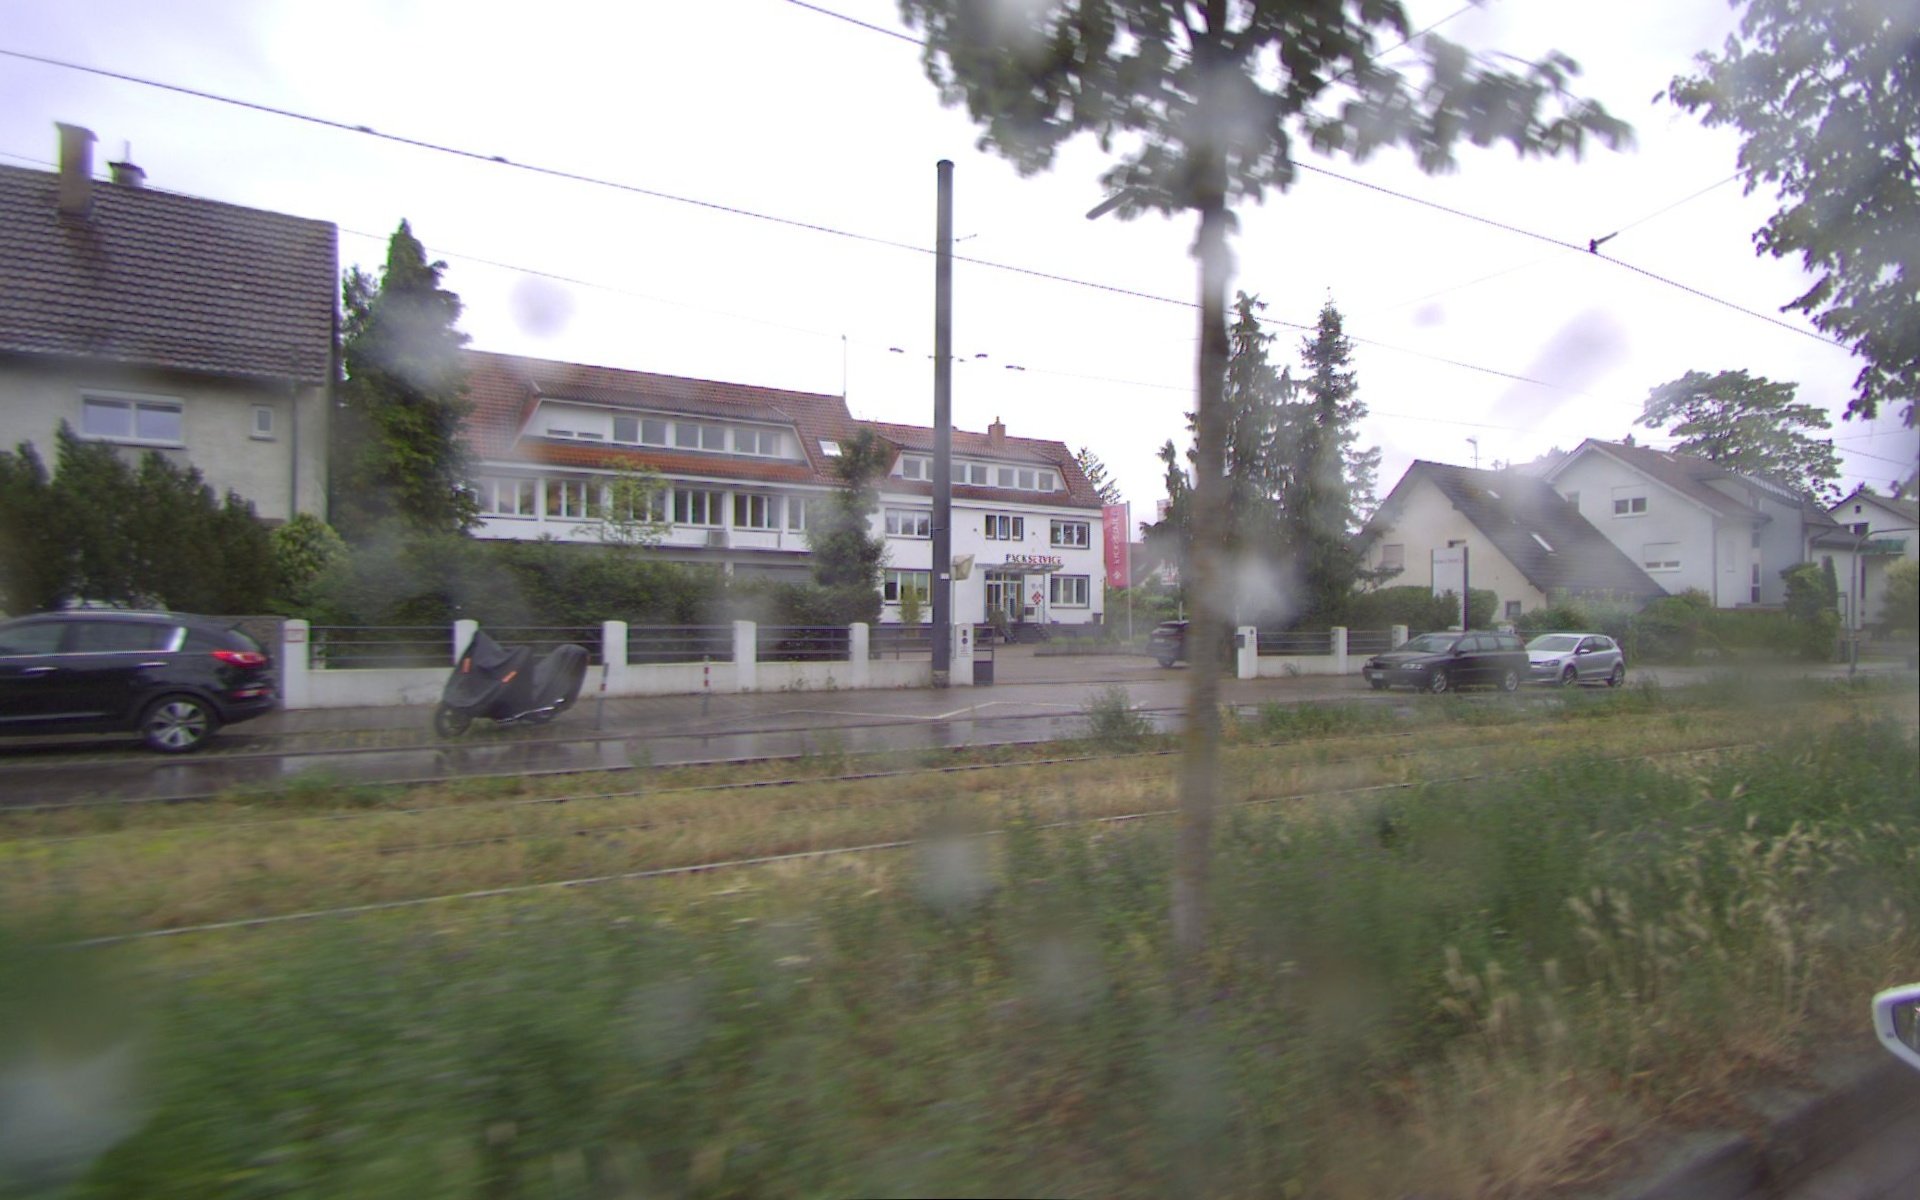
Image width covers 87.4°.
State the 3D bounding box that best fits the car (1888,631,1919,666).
[{"bbox_3d":[40.945,2.041,41.920,4.187,1.369,1.985,1,1,-28],"label":"car"}]

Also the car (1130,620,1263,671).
[{"bbox_3d":[7.570,1.415,32.112,3.872,1.475,1.984,0,1,-30],"label":"car"}]

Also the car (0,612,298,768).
[{"bbox_3d":[-10.627,1.005,12.084,4.339,1.697,1.983,1,-1,-32],"label":"car"}]

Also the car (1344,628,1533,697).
[{"bbox_3d":[11.902,1.479,24.937,4.475,1.475,1.985,1,1,-28],"label":"car"}]

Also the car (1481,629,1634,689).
[{"bbox_3d":[16.561,1.576,27.831,3.924,1.430,1.984,0,1,-30],"label":"car"}]

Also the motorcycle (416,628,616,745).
[{"bbox_3d":[-6.242,1.160,14.398,1.241,1.429,2.689,2,0,12],"label":"motorcycle"}]
